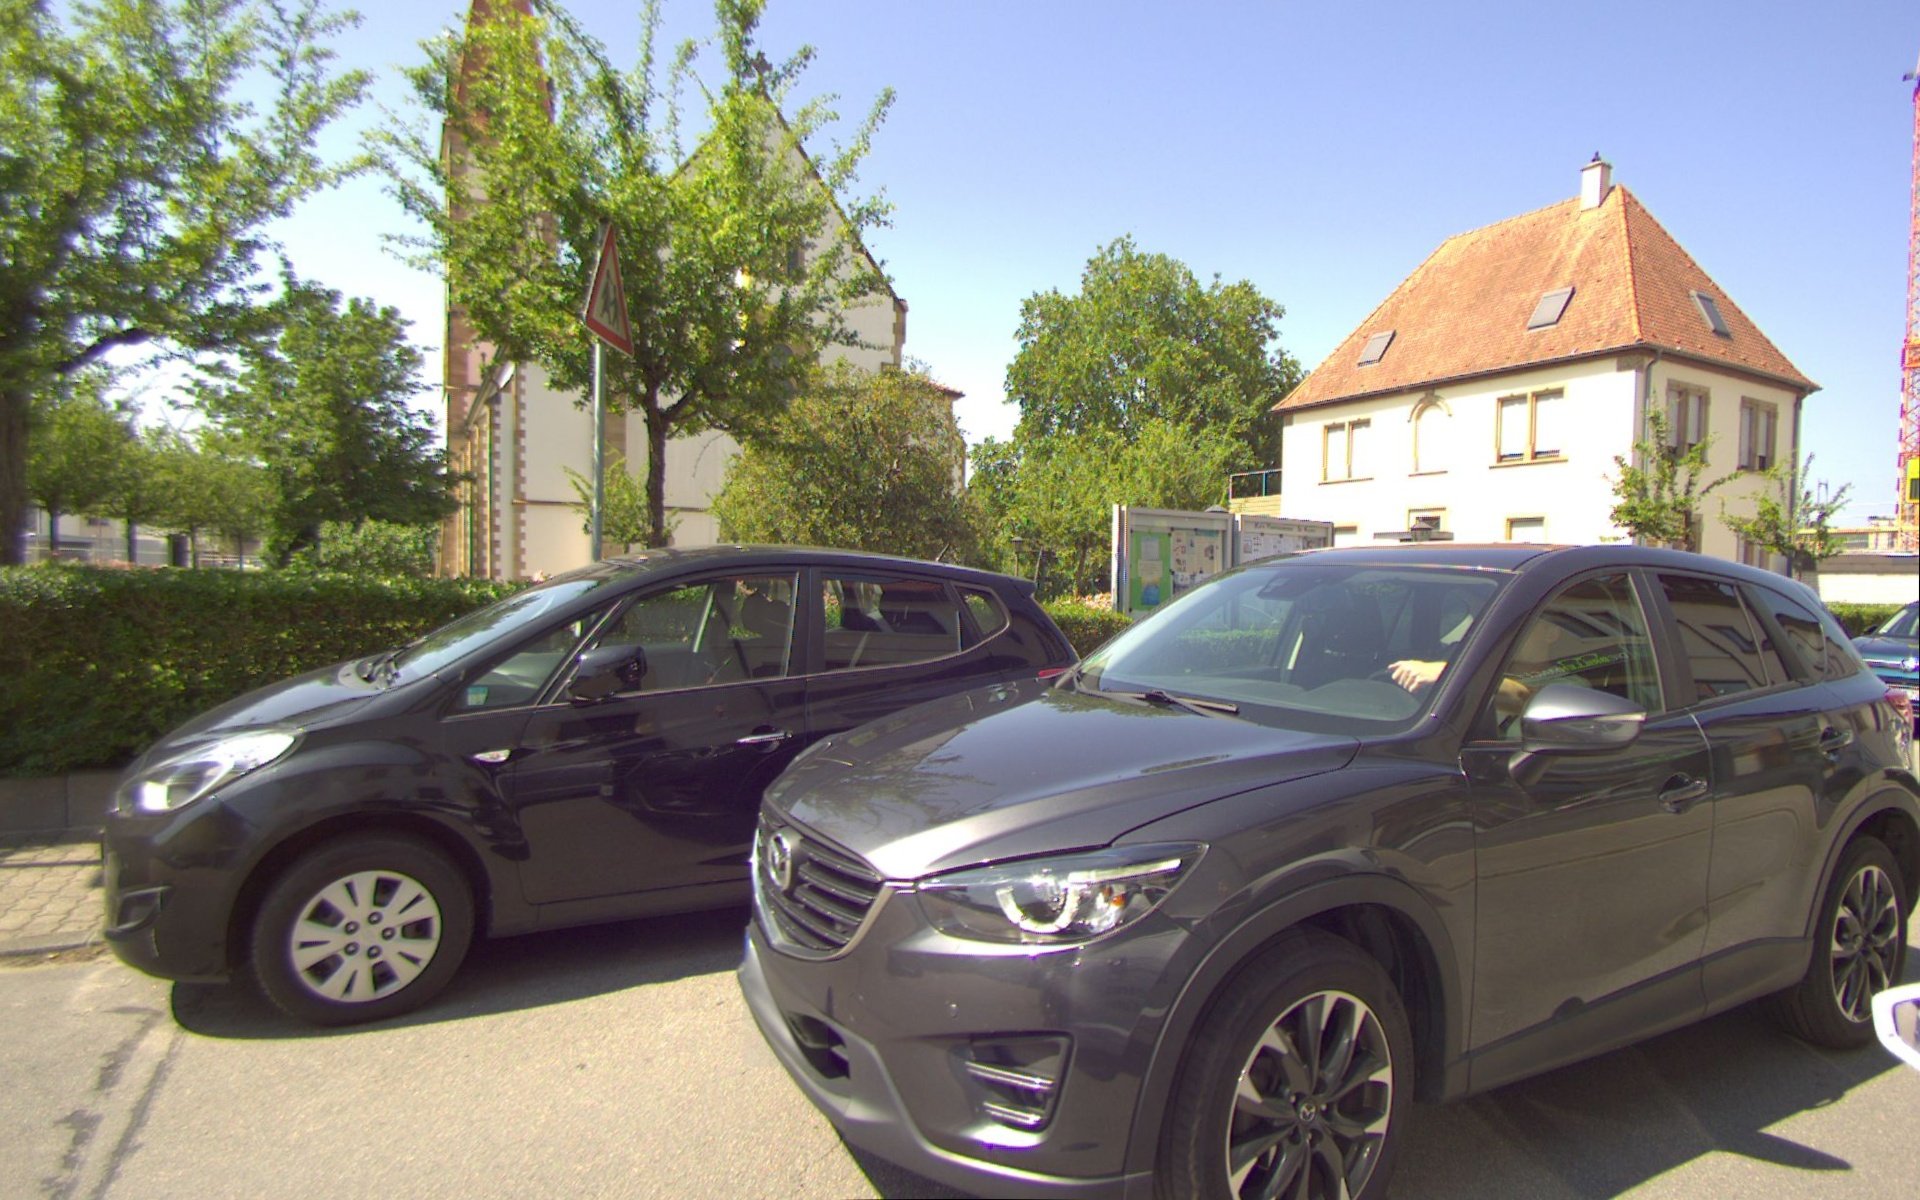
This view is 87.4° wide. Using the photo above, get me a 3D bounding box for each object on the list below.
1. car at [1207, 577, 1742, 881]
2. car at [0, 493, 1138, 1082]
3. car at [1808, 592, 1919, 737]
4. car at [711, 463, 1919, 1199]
[{"bbox_3d":[3.702,0.697,7.106,3.724,1.650,1.629,0,1,-31],"label":"car"},{"bbox_3d":[-1.345,0.524,4.525,3.975,1.626,1.807,1,1,-29],"label":"car"},{"bbox_3d":[12.762,0.771,12.734,4.169,1.652,1.817,1,1,-31],"label":"car"},{"bbox_3d":[1.428,0.627,3.479,4.103,1.691,1.873,1,1,-30],"label":"car"}]
